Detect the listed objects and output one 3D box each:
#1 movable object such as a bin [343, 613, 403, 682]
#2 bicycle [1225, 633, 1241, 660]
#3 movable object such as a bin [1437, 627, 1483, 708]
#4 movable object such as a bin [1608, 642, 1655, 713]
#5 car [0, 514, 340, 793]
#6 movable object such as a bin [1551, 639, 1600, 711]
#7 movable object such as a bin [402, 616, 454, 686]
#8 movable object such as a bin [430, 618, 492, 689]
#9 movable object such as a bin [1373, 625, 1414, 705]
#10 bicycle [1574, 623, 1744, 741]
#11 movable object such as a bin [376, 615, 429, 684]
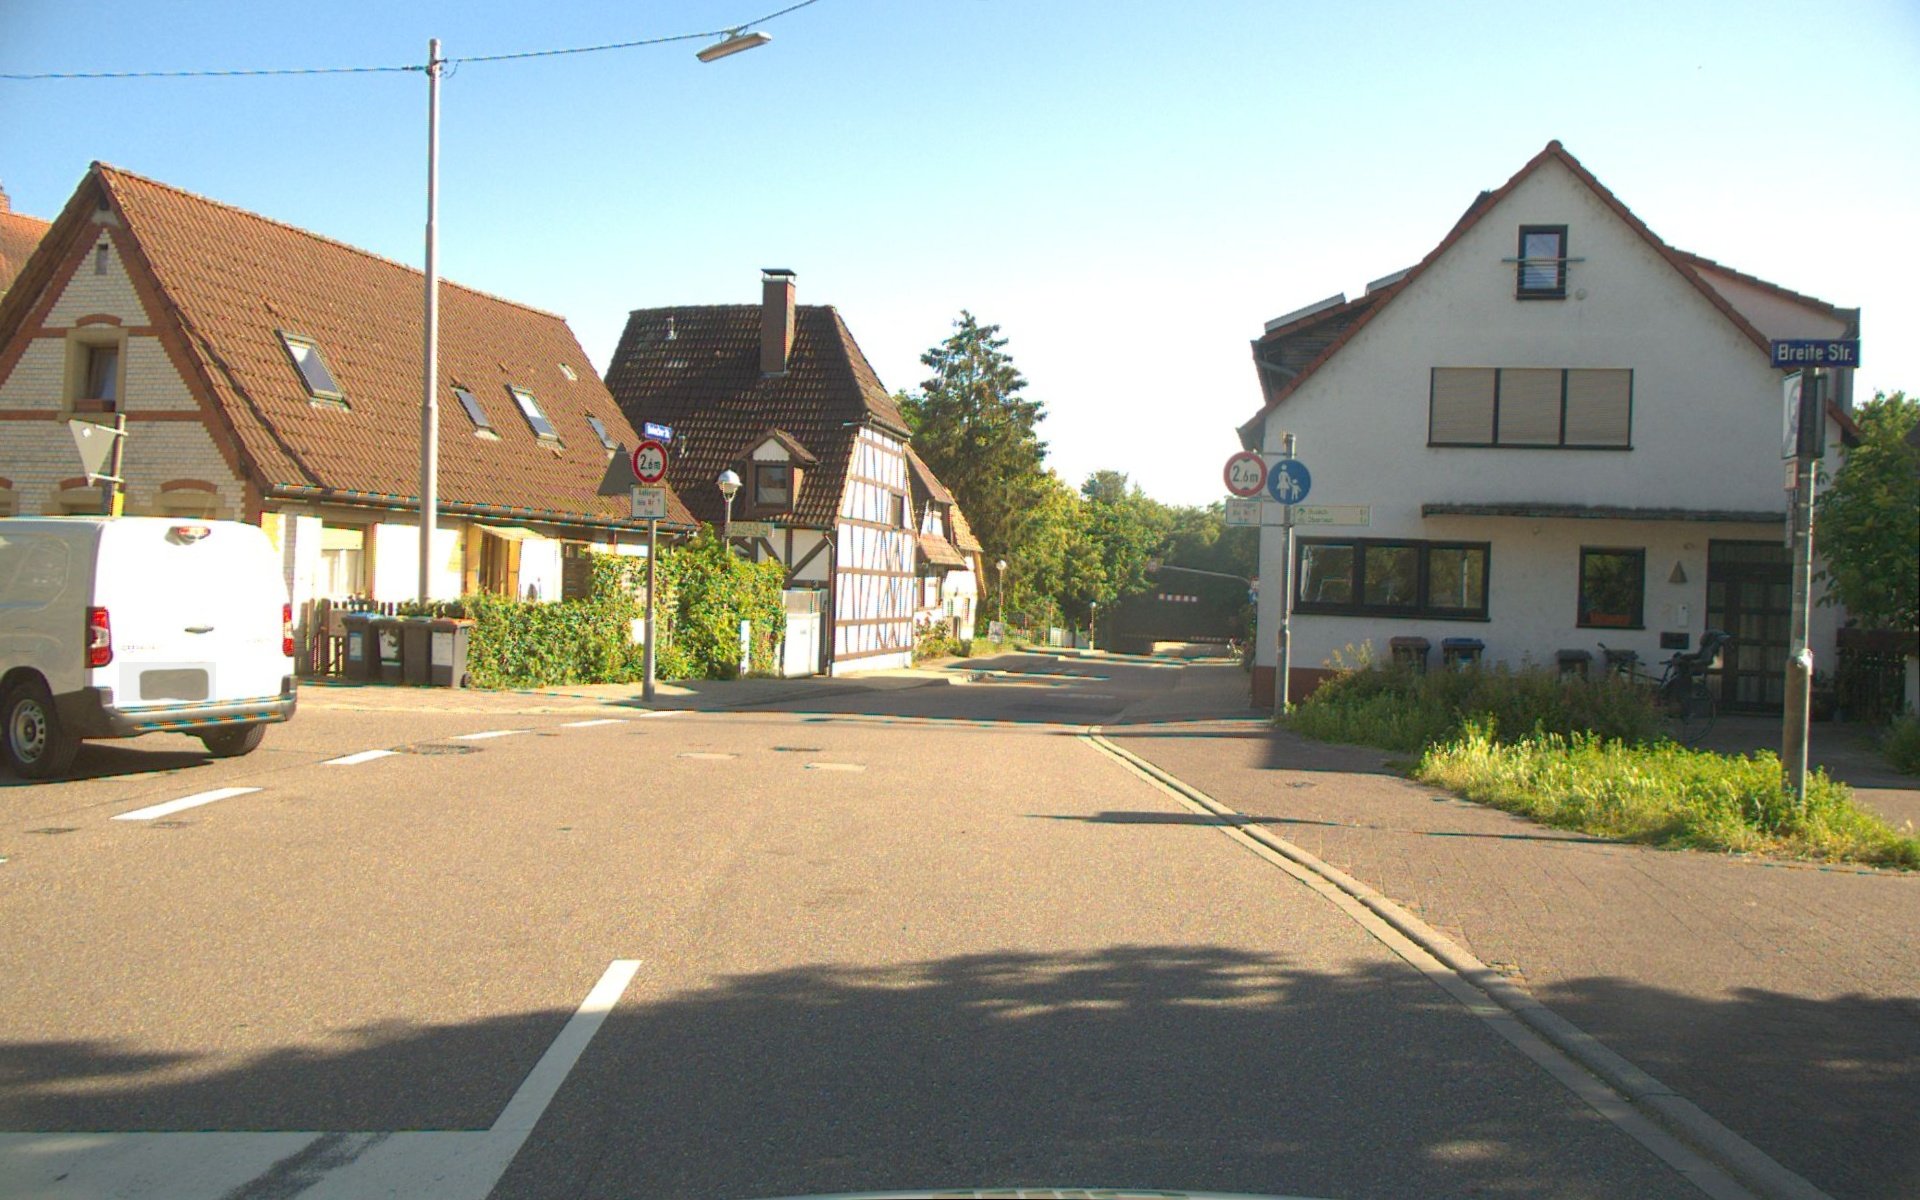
[{"bbox_3d":[-8.317,0.666,23.444,0.497,0.941,0.626,2,1,17],"label":"movable object such as a bin"},{"bbox_3d":[12.506,2.109,75.842,0.674,1.177,1.541,-3,-1,9],"label":"bicycle"},{"bbox_3d":[7.391,0.984,24.459,0.515,1.142,0.749,2,1,8],"label":"movable object such as a bin"},{"bbox_3d":[9.815,1.129,24.193,0.487,0.993,0.594,2,1,8],"label":"movable object such as a bin"},{"bbox_3d":[-7.249,0.288,13.106,4.459,1.880,1.960,2,1,29],"label":"car"},{"bbox_3d":[9.041,1.096,24.311,0.518,1.000,0.670,2,1,8],"label":"movable object such as a bin"},{"bbox_3d":[-7.448,0.709,23.166,0.402,0.941,0.626,2,1,17],"label":"movable object such as a bin"},{"bbox_3d":[-6.945,0.732,23.031,0.544,0.941,0.626,2,1,17],"label":"movable object such as a bin"},{"bbox_3d":[6.467,0.957,24.688,0.470,1.142,0.749,2,1,8],"label":"movable object such as a bin"},{"bbox_3d":[8.305,0.960,19.705,1.700,1.306,0.701,2,0,7],"label":"bicycle"},{"bbox_3d":[-7.853,0.694,23.301,0.403,0.921,0.626,2,2,17],"label":"movable object such as a bin"}]
